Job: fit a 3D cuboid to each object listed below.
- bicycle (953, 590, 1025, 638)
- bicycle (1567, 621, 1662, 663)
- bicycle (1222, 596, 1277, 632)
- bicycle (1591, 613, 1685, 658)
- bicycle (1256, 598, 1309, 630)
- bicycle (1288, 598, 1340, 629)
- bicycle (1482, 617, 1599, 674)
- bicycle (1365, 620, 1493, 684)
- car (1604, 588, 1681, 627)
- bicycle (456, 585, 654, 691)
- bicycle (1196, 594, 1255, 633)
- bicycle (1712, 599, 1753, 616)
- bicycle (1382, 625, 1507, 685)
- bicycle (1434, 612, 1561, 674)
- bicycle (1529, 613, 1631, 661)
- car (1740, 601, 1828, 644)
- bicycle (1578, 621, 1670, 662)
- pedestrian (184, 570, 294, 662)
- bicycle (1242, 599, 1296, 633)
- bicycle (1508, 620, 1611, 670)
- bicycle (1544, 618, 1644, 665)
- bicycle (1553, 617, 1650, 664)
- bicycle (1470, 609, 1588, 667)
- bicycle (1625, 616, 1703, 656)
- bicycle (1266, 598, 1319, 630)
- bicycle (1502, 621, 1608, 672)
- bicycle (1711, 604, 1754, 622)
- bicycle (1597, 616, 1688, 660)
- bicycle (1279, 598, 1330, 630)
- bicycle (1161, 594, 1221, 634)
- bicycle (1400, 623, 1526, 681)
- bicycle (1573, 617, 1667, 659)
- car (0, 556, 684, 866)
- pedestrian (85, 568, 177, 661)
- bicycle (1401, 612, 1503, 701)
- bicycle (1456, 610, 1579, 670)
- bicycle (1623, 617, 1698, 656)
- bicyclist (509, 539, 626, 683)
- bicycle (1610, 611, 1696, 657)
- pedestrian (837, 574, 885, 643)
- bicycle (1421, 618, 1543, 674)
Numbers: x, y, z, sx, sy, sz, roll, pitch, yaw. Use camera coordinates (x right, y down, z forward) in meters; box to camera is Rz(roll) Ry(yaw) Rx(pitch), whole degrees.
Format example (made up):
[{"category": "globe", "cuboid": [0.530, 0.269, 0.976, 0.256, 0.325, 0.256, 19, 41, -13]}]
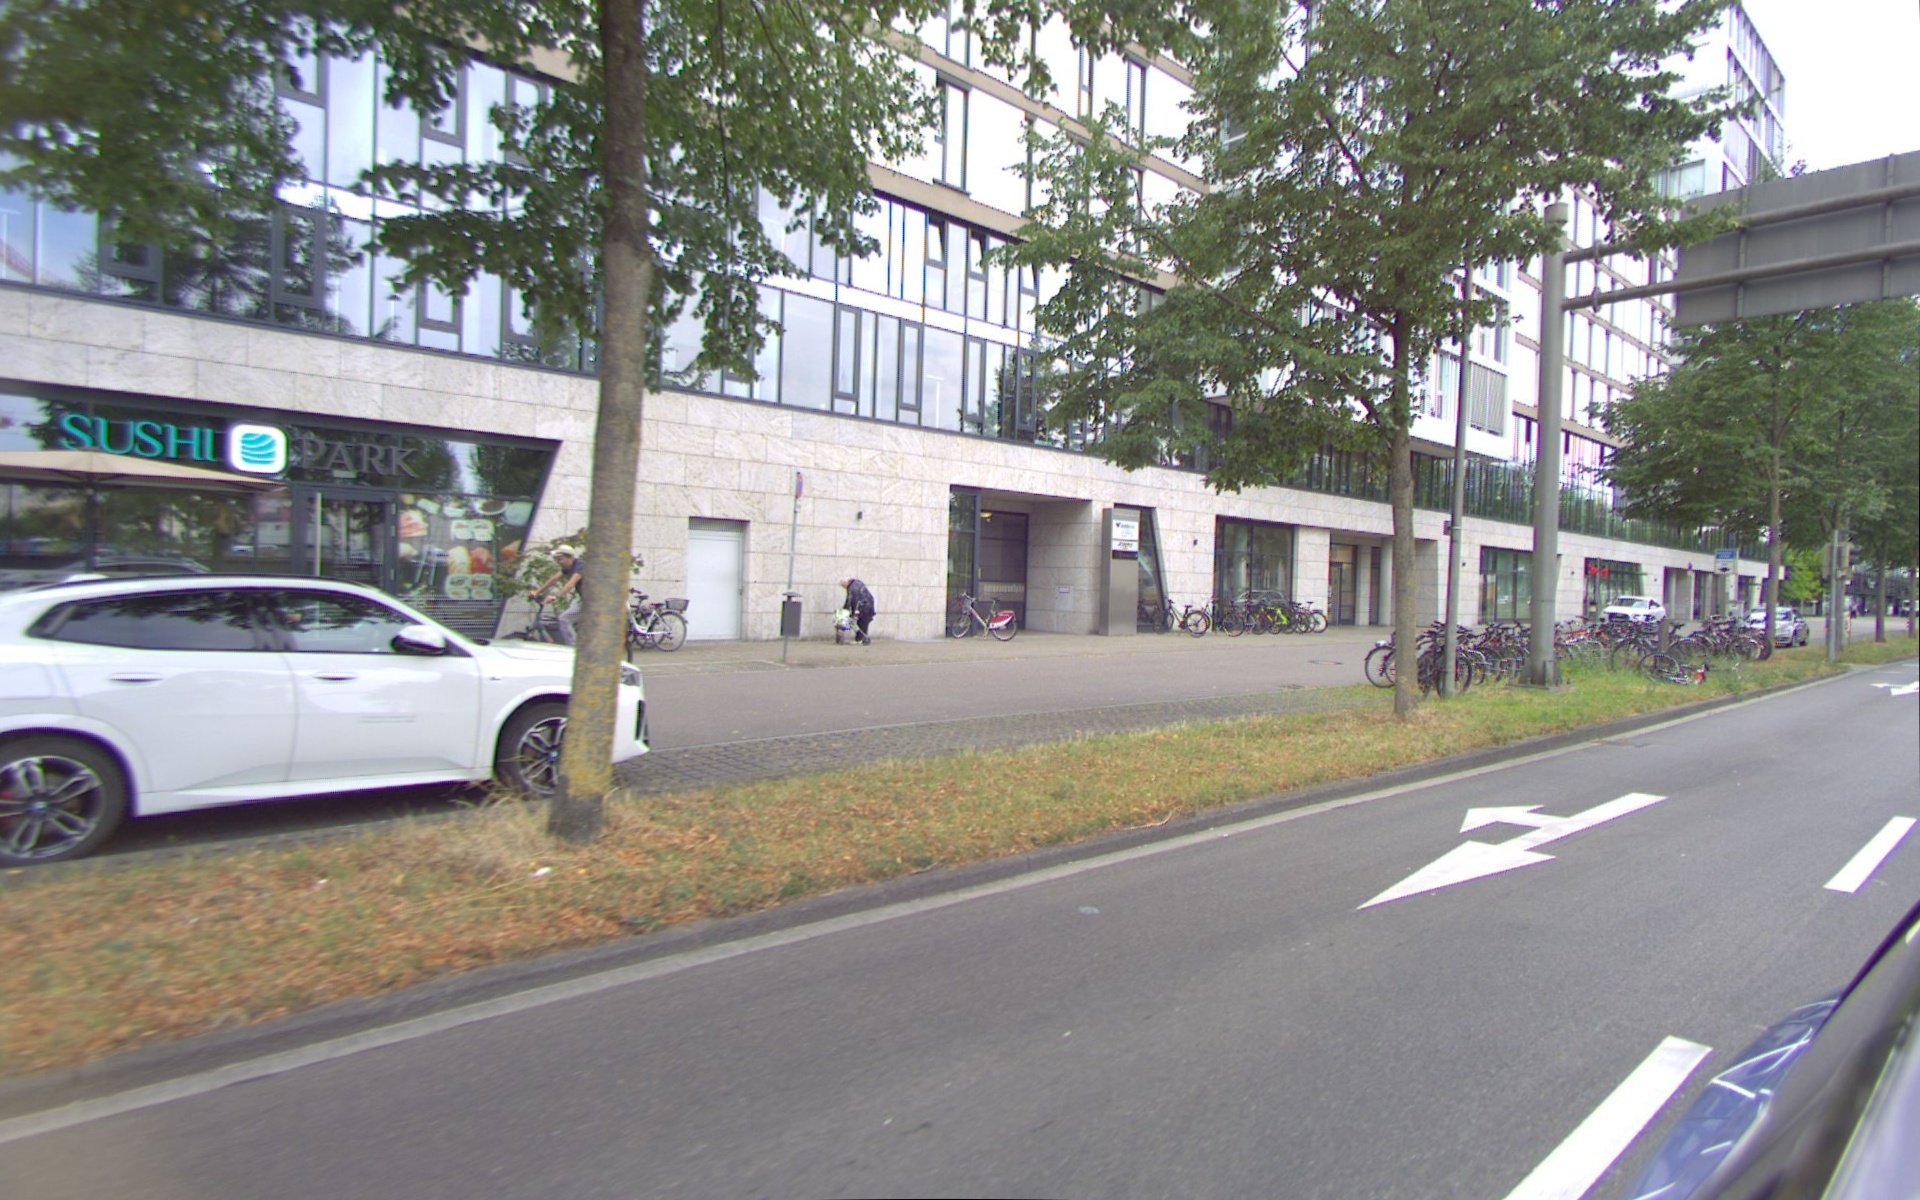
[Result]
[{"category": "bicycle", "cuboid": [0.681, 0.324, 23.989, 1.585, 1.039, 0.606, 3, 2, 23]}, {"category": "bicycle", "cuboid": [14.692, 0.933, 22.744, 1.713, 0.917, 0.580, -2, -2, 42]}, {"category": "bicycle", "cuboid": [8.861, 0.418, 31.011, 0.524, 1.039, 1.531, 1, 2, -43]}, {"category": "bicycle", "cuboid": [16.114, 0.843, 24.070, 1.770, 1.025, 0.601, -2, -2, 42]}, {"category": "bicycle", "cuboid": [10.261, 0.439, 32.248, 0.524, 0.965, 1.531, 1, 2, -43]}, {"category": "bicycle", "cuboid": [11.764, 0.441, 33.673, 0.524, 0.965, 1.531, 1, 2, -43]}, {"category": "bicycle", "cuboid": [11.483, 0.885, 20.054, 1.927, 1.079, 0.536, -2, -2, 41]}, {"category": "bicycle", "cuboid": [7.807, 0.853, 16.917, 0.564, 1.008, 1.862, 1, -2, -43]}, {"category": "car", "cuboid": [31.593, 0.343, 46.805, 4.165, 1.607, 1.862, 0, 4, -41]}, {"category": "bicycle", "cuboid": [-5.278, 0.460, 13.287, 2.229, 1.250, 0.903, 0, 2, -42]}, {"category": "bicycle", "cuboid": [7.756, 0.395, 29.631, 0.524, 1.039, 1.599, 1, 2, -43]}, {"category": "bicycle", "cuboid": [55.593, 0.535, 72.860, 2.231, 1.191, 0.961, 2, 1, 42]}, {"category": "bicycle", "cuboid": [8.283, 0.922, 17.367, 0.493, 0.963, 1.862, 1, -2, -43]}, {"category": "bicycle", "cuboid": [9.928, 0.780, 18.745, 0.693, 1.079, 1.931, 1, -2, -43]}, {"category": "bicycle", "cuboid": [13.085, 0.777, 21.377, 1.742, 0.986, 0.600, -2, -2, 42]}, {"category": "car", "cuboid": [29.860, 0.775, 36.633, 4.109, 1.439, 1.763, 0, 1, -41]}, {"category": "bicycle", "cuboid": [15.519, 0.958, 23.665, 1.713, 0.917, 0.580, -2, -2, 42]}, {"category": "pedestrian", "cuboid": [-9.830, 0.205, 13.836, 1.083, 1.207, 0.776, 1, 1, -26]}, {"category": "bicycle", "cuboid": [9.671, 0.487, 31.691, 0.524, 0.965, 1.531, 1, 2, -43]}, {"category": "bicycle", "cuboid": [12.374, 0.925, 20.927, 1.742, 0.986, 0.600, -2, -2, 42]}, {"category": "bicycle", "cuboid": [13.706, 0.891, 21.919, 1.742, 0.986, 0.600, -2, -2, 42]}, {"category": "bicycle", "cuboid": [14.162, 0.887, 22.367, 1.713, 0.986, 0.600, -2, -2, 42]}, {"category": "bicycle", "cuboid": [11.046, 0.726, 19.691, 1.927, 1.079, 0.536, -2, -2, 41]}, {"category": "bicycle", "cuboid": [17.763, 0.892, 25.556, 0.476, 0.965, 1.530, 1, -1, -43]}, {"category": "bicycle", "cuboid": [10.715, 0.436, 32.633, 0.524, 0.965, 1.531, 1, 2, -43]}, {"category": "bicycle", "cuboid": [11.997, 0.927, 20.428, 1.742, 0.986, 0.600, -2, -2, 42]}, {"category": "bicycle", "cuboid": [56.356, 0.922, 73.816, 2.417, 1.191, 1.185, 2, 1, 42]}, {"category": "bicycle", "cuboid": [16.566, 0.894, 24.588, 1.770, 1.025, 0.601, -1, -1, 42]}, {"category": "bicycle", "cuboid": [11.300, 0.447, 33.226, 0.524, 0.965, 1.531, 1, 2, -43]}, {"category": "bicycle", "cuboid": [6.475, 0.385, 28.468, 0.524, 1.039, 1.599, 1, 2, -43]}, {"category": "bicycle", "cuboid": [8.841, 0.898, 17.847, 0.642, 0.963, 1.862, 1, -2, -43]}, {"category": "bicycle", "cuboid": [15.117, 0.865, 23.208, 1.713, 0.917, 0.580, -2, -2, 42]}, {"category": "car", "cuboid": [-4.411, 0.548, 6.823, 4.512, 1.571, 1.942, 1, 1, -41]}, {"category": "pedestrian", "cuboid": [-11.172, 0.188, 13.665, 0.743, 1.207, 0.723, 1, 1, -19]}, {"category": "bicycle", "cuboid": [6.798, 0.739, 13.927, 0.709, 1.130, 2.170, -2, -2, 41]}, {"category": "bicycle", "cuboid": [10.537, 0.753, 19.182, 0.631, 1.079, 1.931, 1, -2, -43]}, {"category": "bicycle", "cuboid": [18.164, 0.926, 26.255, 0.543, 0.965, 1.530, 1, -1, -43]}, {"category": "bicyclist", "cuboid": [-5.163, 0.119, 13.313, 1.110, 1.758, 0.999, 1, 4, -42]}, {"category": "bicycle", "cuboid": [17.183, 0.825, 25.123, 0.516, 1.104, 1.669, 1, -1, -43]}, {"category": "pedestrian", "cuboid": [-2.100, 0.167, 21.477, 0.707, 1.424, 0.759, 1, 1, -33]}, {"category": "bicycle", "cuboid": [9.409, 0.811, 18.305, 0.602, 0.963, 1.862, 1, -2, -43]}]
